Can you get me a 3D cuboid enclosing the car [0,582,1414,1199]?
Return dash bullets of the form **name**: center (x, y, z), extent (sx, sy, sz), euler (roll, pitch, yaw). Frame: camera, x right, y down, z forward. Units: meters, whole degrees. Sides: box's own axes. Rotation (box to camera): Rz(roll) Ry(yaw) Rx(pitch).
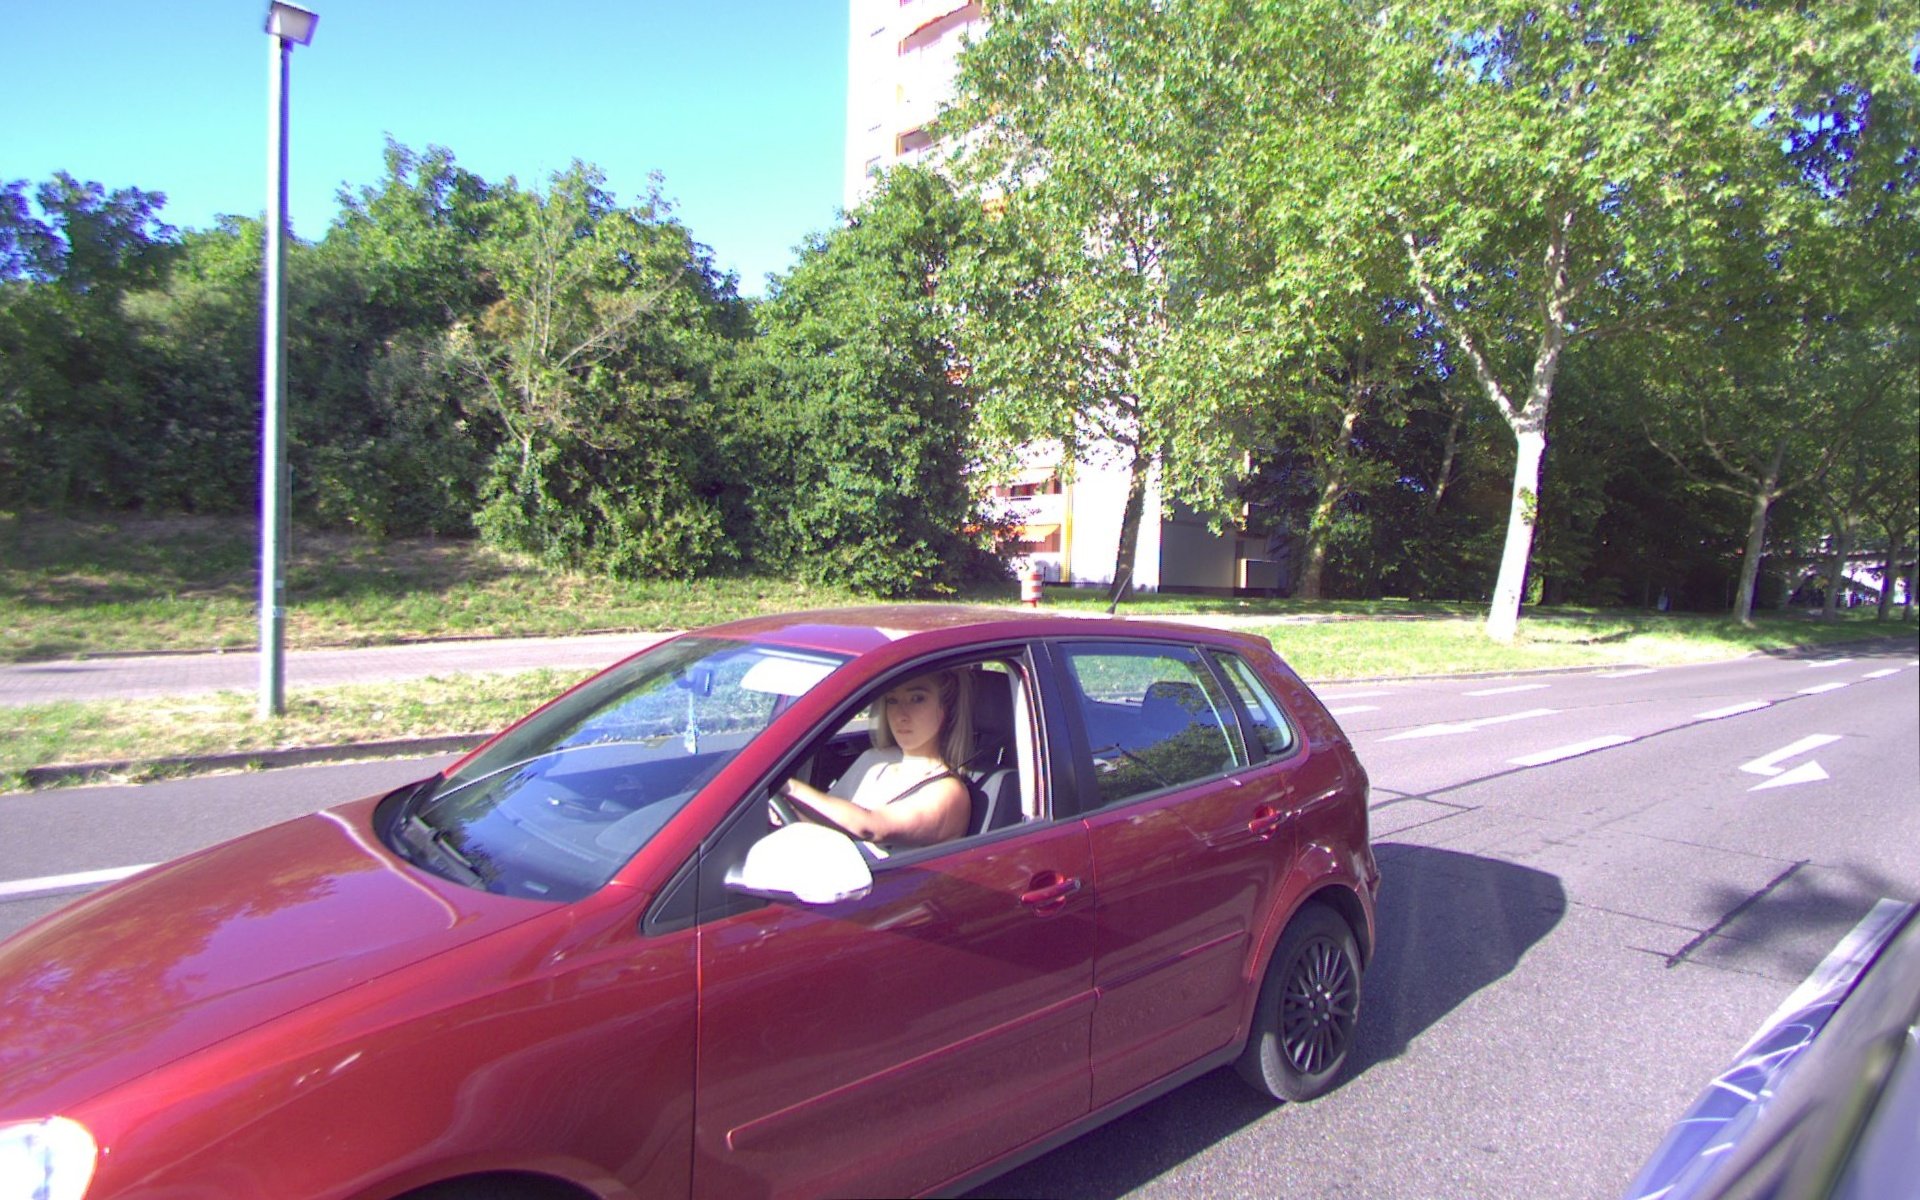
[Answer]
- **car**: center (-0.461, 0.691, 2.762), extent (3.627, 1.434, 1.626), euler (0, 1, -39)
